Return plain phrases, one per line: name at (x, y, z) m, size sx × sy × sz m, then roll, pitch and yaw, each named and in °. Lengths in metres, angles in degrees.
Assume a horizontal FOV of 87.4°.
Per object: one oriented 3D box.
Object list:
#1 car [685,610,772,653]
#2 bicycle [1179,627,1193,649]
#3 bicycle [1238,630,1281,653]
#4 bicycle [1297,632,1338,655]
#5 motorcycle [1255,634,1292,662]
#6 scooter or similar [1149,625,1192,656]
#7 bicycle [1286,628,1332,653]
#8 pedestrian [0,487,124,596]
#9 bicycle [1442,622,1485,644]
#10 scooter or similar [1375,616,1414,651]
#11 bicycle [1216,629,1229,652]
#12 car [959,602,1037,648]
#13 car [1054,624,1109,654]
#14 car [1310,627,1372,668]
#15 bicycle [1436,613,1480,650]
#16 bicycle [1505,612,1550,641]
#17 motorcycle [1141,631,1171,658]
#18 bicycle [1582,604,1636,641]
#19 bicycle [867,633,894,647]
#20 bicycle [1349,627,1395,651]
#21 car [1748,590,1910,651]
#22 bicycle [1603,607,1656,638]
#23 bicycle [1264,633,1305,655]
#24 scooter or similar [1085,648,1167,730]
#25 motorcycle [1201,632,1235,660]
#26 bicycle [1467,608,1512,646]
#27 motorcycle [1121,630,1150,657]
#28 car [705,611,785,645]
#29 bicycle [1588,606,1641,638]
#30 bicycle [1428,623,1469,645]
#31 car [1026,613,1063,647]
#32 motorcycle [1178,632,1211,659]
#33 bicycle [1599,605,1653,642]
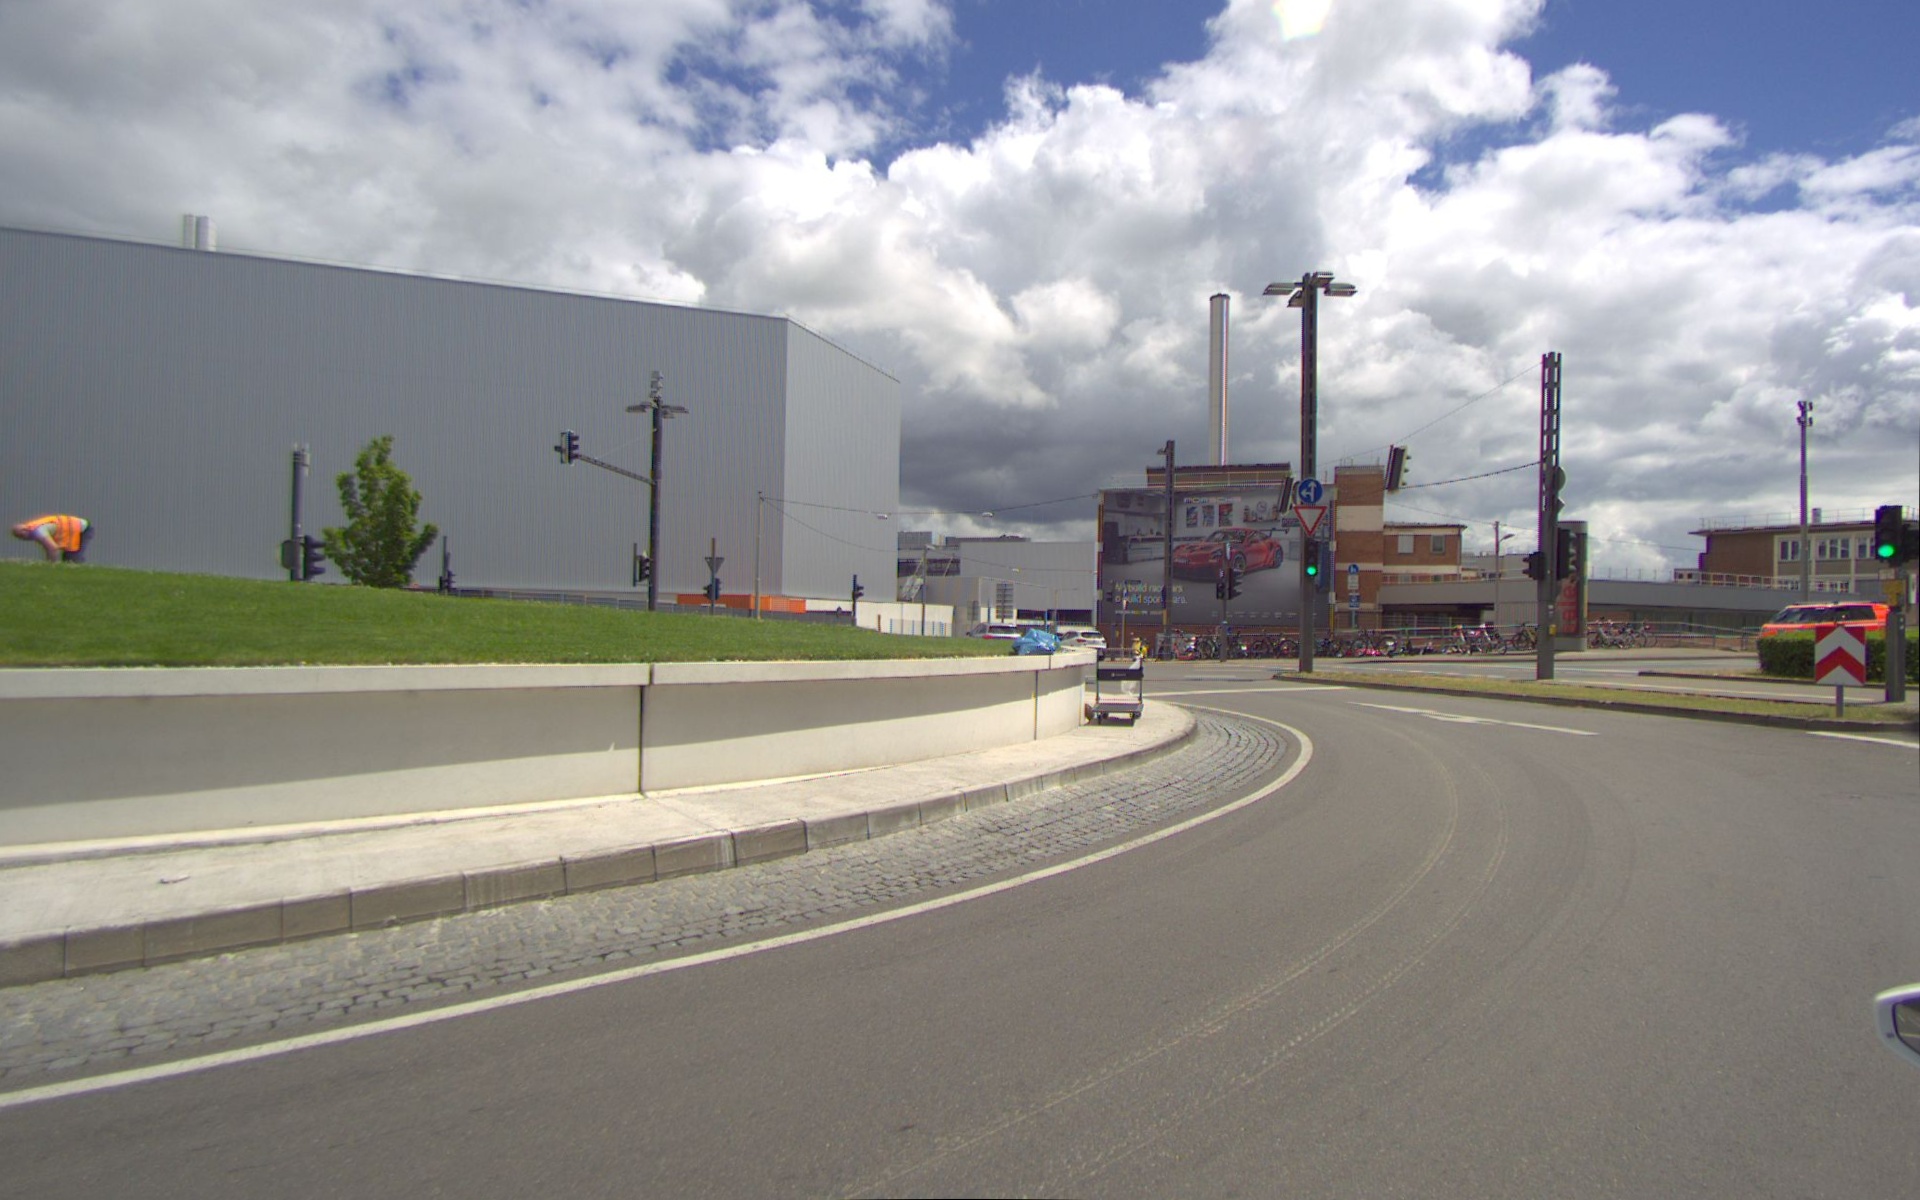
car at (-10.722, 1.427, 46.793) m, size 1.877 × 1.820 × 3.770 m, roll 2°, pitch 0°, yaw 29°
bicycle at (9.603, 1.600, 42.683) m, size 0.483 × 0.878 × 1.612 m, roll 2°, pitch 0°, yaw 15°
bicycle at (11.597, 1.605, 38.909) m, size 1.580 × 0.878 × 0.492 m, roll -1°, pitch -1°, yaw 22°
bicycle at (14.914, 1.821, 41.930) m, size 1.579 × 0.878 × 0.493 m, roll 2°, pitch 0°, yaw 16°
motorcycle at (15.763, 2.407, 50.625) m, size 0.902 × 1.211 × 2.912 m, roll 2°, pitch 0°, yaw 0°
scooter or similar at (8.502, 1.624, 40.574) m, size 1.602 × 1.197 × 0.502 m, roll -3°, pitch -2°, yaw 26°
bicycle at (13.355, 1.558, 38.462) m, size 1.578 × 0.878 × 0.493 m, roll -2°, pitch 0°, yaw 9°
pedestrian at (-13.153, -0.843, 14.688) m, size 0.946 × 1.424 × 0.857 m, roll 2°, pitch -6°, yaw 3°
bicycle at (21.062, 1.367, 42.038) m, size 1.581 × 0.878 × 0.492 m, roll -2°, pitch -1°, yaw -7°
scooter or similar at (16.325, 1.262, 37.727) m, size 1.369 × 1.248 × 0.492 m, roll -2°, pitch 2°, yaw -20°
bicycle at (11.065, 1.701, 42.267) m, size 0.483 × 0.878 × 1.612 m, roll 2°, pitch 0°, yaw 15°
car at (1.415, 0.932, 39.274) m, size 1.966 × 1.598 × 3.989 m, roll 2°, pitch 0°, yaw -14°
car at (6.333, 2.028, 52.710) m, size 1.755 × 1.368 × 3.345 m, roll 2°, pitch 0°, yaw -15°
car at (19.194, 2.374, 50.730) m, size 1.599 × 1.809 × 3.481 m, roll 2°, pitch 0°, yaw -3°
bicycle at (19.172, 1.197, 38.720) m, size 0.485 × 1.334 × 1.604 m, roll 2°, pitch 0°, yaw -19°
bicycle at (22.427, 1.051, 39.722) m, size 0.485 × 1.070 × 1.604 m, roll 2°, pitch 0°, yaw -19°
motorcycle at (10.013, 2.252, 51.533) m, size 0.902 × 1.211 × 2.912 m, roll 2°, pitch 0°, yaw 0°
bicycle at (25.914, 0.884, 40.109) m, size 0.659 × 1.399 × 1.735 m, roll 2°, pitch 0°, yaw -19°
bicycle at (-6.930, 3.503, 87.657) m, size 2.315 × 1.222 × 0.444 m, roll 2°, pitch 0°, yaw -30°
bicycle at (15.815, 1.485, 38.528) m, size 1.581 × 0.878 × 0.492 m, roll -1°, pitch -1°, yaw -8°
car at (30.065, 0.686, 34.783) m, size 4.757 × 2.009 × 1.993 m, roll 0°, pitch -1°, yaw -16°
bicycle at (27.312, 0.904, 40.997) m, size 0.659 × 1.198 × 1.735 m, roll 0°, pitch 1°, yaw -20°
bicycle at (13.484, 1.824, 41.770) m, size 1.580 × 0.878 × 0.492 m, roll -1°, pitch -1°, yaw 23°
scooter or similar at (2.021, 1.046, 12.090) m, size 0.890 × 0.859 × 1.262 m, roll 0°, pitch 0°, yaw 13°
motorcycle at (12.993, 2.302, 50.758) m, size 0.902 × 1.211 × 2.912 m, roll 2°, pitch 0°, yaw 0°
bicycle at (20.455, 1.032, 38.831) m, size 0.485 × 1.401 × 1.604 m, roll 2°, pitch 0°, yaw -19°
motorcycle at (8.980, 2.203, 51.510) m, size 0.902 × 1.211 × 2.912 m, roll 2°, pitch 0°, yaw 0°
car at (-11.381, 1.449, 53.487) m, size 1.962 × 1.645 × 4.288 m, roll 2°, pitch 0°, yaw 24°
bicycle at (26.535, 0.887, 40.769) m, size 0.660 × 1.198 × 1.734 m, roll -4°, pitch 3°, yaw -21°
bicycle at (20.836, 1.449, 42.833) m, size 1.581 × 0.878 × 0.492 m, roll 1°, pitch -1°, yaw -8°
car at (5.350, 1.845, 63.043) m, size 2.165 × 1.882 × 4.519 m, roll 2°, pitch 0°, yaw 6°
motorcycle at (11.828, 2.290, 50.728) m, size 0.902 × 1.211 × 2.912 m, roll 2°, pitch 0°, yaw 0°
bicycle at (26.802, 0.917, 40.450) m, size 0.659 × 1.399 × 1.735 m, roll 2°, pitch 0°, yaw -19°
